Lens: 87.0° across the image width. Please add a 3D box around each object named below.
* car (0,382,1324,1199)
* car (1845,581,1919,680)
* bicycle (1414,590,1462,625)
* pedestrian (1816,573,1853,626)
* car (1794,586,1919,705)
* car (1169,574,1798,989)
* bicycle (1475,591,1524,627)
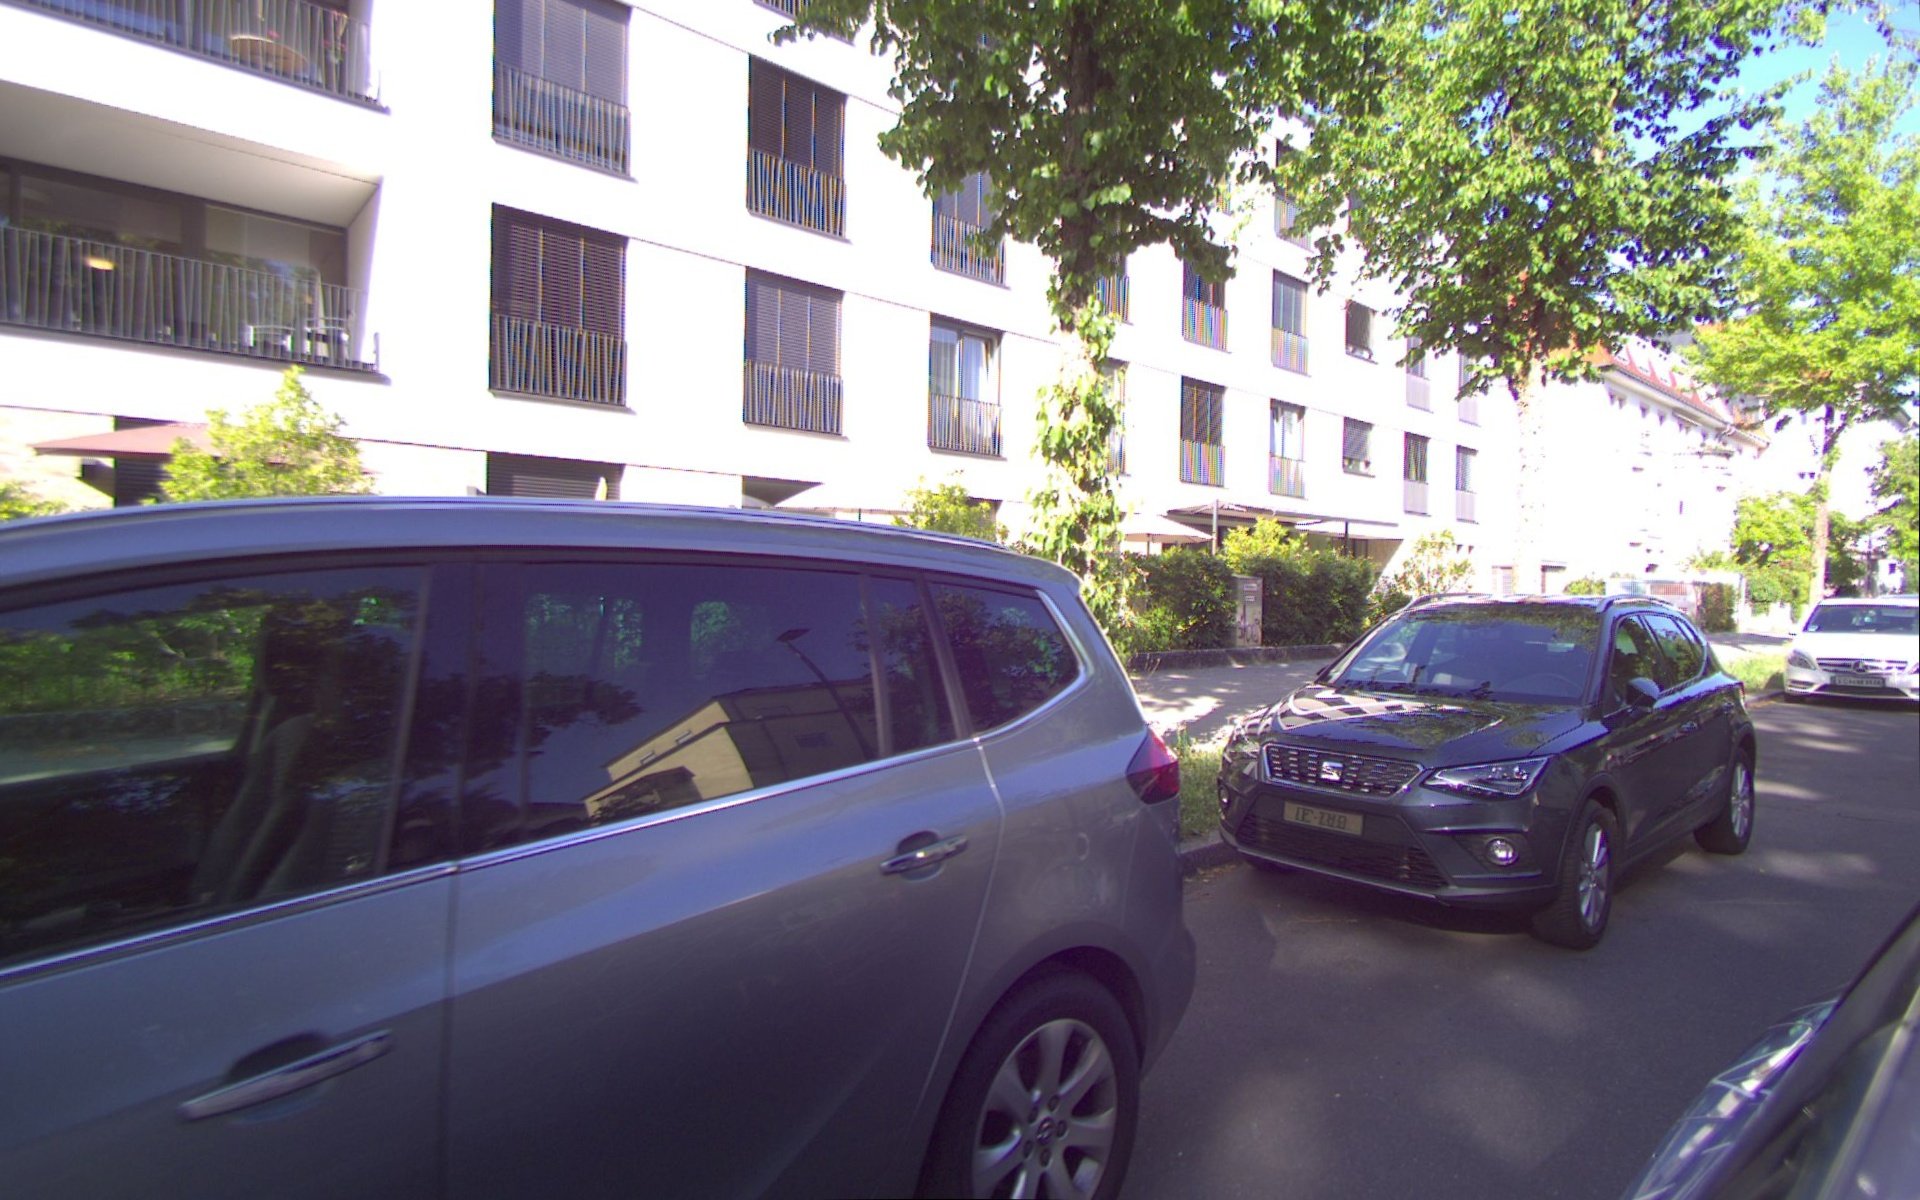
[{"bbox_3d":[-1.372,0.618,1.838,4.736,1.664,1.795,0,0,-42],"label":"car"},{"bbox_3d":[18.193,0.521,18.773,4.774,1.668,1.901,0,1,-39],"label":"car"},{"bbox_3d":[12.917,0.199,27.358,1.581,0.905,0.564,0,1,-41],"label":"bicycle"},{"bbox_3d":[34.564,-0.026,40.008,0.988,2.038,0.907,0,2,-41],"label":"pedestrian"},{"bbox_3d":[13.866,0.589,15.111,1.782,1.537,4.612,1,1,45],"label":"car"},{"bbox_3d":[3.226,0.654,5.798,4.268,1.535,1.721,0,1,-41],"label":"car"},{"bbox_3d":[13.968,0.228,26.195,1.581,0.905,0.564,0,1,-41],"label":"bicycle"}]
